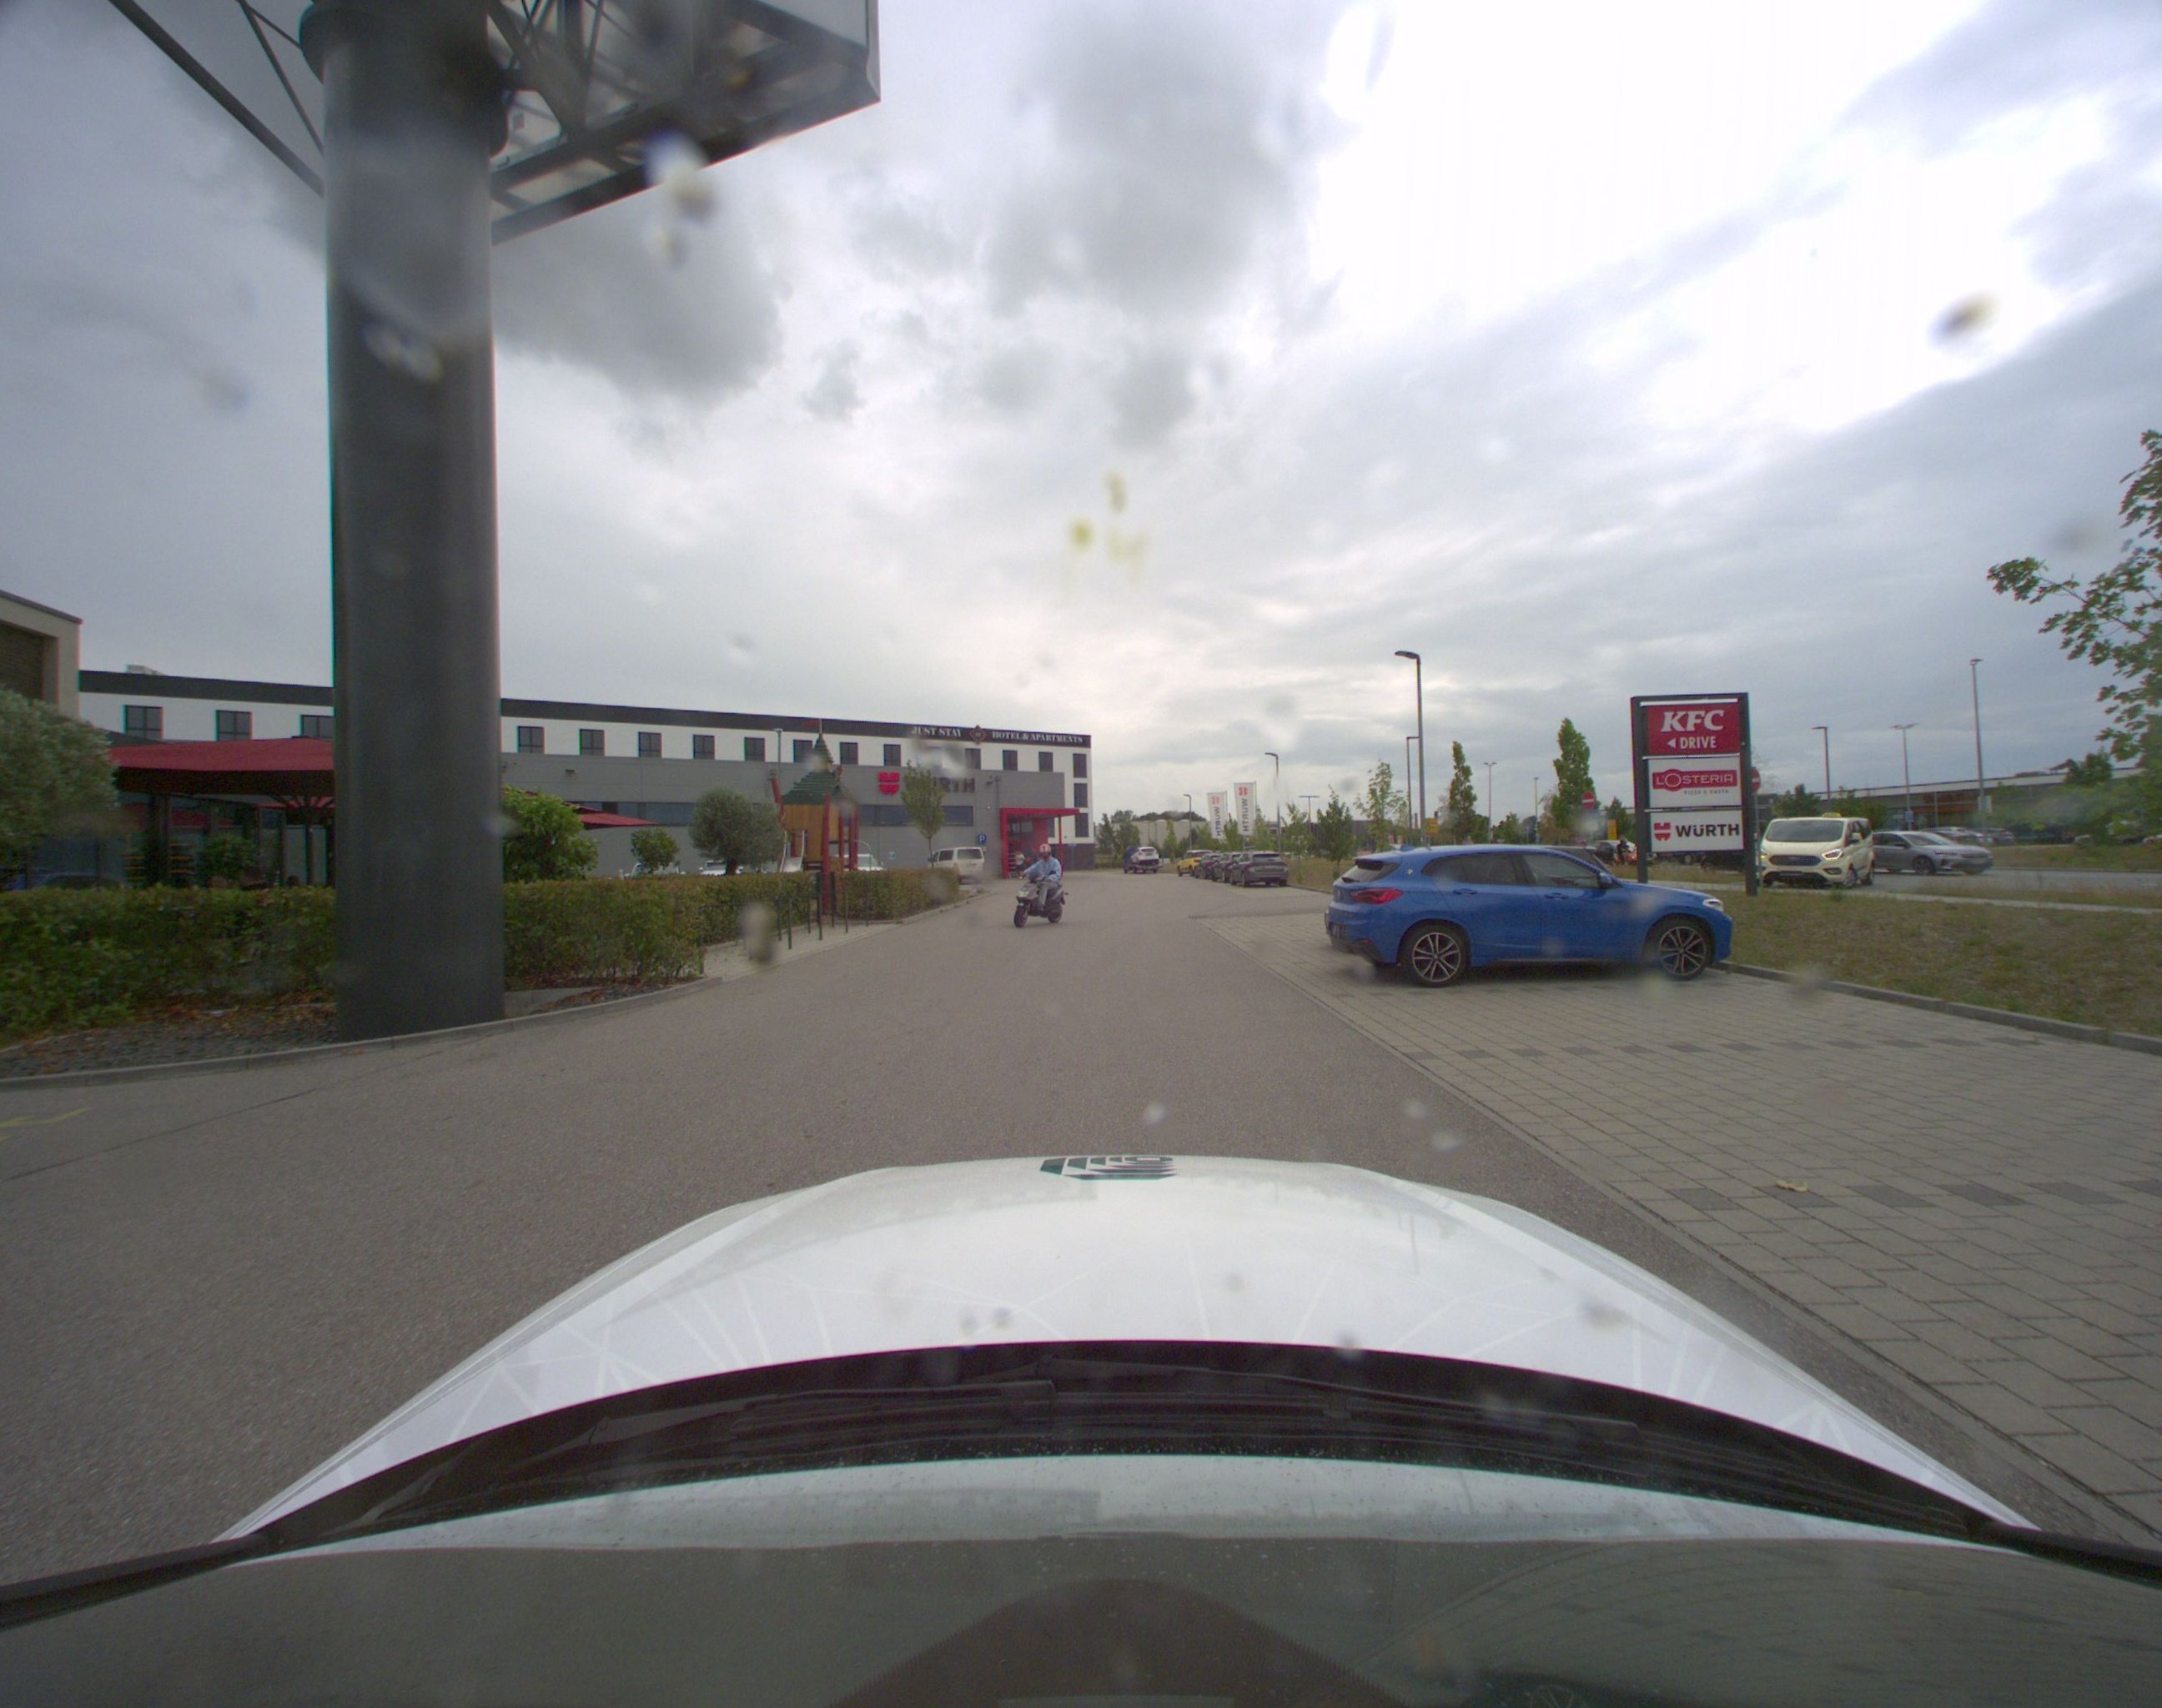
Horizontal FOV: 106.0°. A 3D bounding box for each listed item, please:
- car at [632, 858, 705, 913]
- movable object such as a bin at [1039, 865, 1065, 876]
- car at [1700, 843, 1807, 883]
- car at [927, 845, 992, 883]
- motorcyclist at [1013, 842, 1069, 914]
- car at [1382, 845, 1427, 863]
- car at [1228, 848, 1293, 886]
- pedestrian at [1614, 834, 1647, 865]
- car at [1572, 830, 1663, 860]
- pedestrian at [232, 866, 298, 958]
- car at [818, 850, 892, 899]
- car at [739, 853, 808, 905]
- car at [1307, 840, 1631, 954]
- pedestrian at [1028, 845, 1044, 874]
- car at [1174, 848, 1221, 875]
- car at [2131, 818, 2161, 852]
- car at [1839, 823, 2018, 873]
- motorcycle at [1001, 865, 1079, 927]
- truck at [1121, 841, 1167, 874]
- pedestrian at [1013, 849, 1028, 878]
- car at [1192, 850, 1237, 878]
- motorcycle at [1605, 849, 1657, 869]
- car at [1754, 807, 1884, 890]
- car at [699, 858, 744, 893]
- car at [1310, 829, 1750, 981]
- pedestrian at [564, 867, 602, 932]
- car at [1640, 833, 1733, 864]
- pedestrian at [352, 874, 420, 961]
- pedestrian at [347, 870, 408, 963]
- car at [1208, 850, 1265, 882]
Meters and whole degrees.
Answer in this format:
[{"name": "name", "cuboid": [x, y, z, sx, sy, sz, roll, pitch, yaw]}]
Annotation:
[{"name": "car", "cuboid": [-14.283, 1.068, 28.428, 2.003, 1.650, 4.540, -3, 0, -24]}, {"name": "movable object such as a bin", "cuboid": [-1.898, 1.079, 53.948, 1.494, 0.704, 0.958, 0, -1, -23]}, {"name": "car", "cuboid": [24.852, 0.314, 30.225, 1.455, 1.337, 3.166, -2, 0, 4]}, {"name": "car", "cuboid": [-6.761, 0.566, 44.995, 2.069, 1.855, 4.020, -4, 0, -32]}, {"name": "motorcyclist", "cuboid": [-0.848, 0.506, 17.453, 0.820, 1.489, 0.947, -2, -1, 25]}, {"name": "car", "cuboid": [26.756, -0.006, 67.529, 1.759, 1.395, 4.553, -2, 0, -3]}, {"name": "car", "cuboid": [7.462, 0.519, 34.212, 1.746, 1.469, 4.475, -1, 0, 0]}, {"name": "pedestrian", "cuboid": [24.309, -0.190, 36.040, 0.802, 1.281, 0.898, -3, 0, -3]}, {"name": "car", "cuboid": [27.625, -0.439, 42.084, 1.759, 1.395, 4.214, -2, 0, -3]}, {"name": "pedestrian", "cuboid": [-11.127, 0.776, 11.110, 0.420, 1.199, 0.454, -3, 0, -14]}, {"name": "car", "cuboid": [-8.763, 0.773, 31.277, 2.003, 1.650, 4.540, -3, 0, -24]}, {"name": "car", "cuboid": [-11.326, 0.910, 29.811, 2.003, 1.650, 4.540, -3, 0, -24]}, {"name": "car", "cuboid": [5.676, 0.600, 12.327, 4.044, 1.459, 1.778, -2, 0, 3]}, {"name": "pedestrian", "cuboid": [-2.838, 0.363, 51.483, 0.679, 1.802, 0.874, -2, 0, -22]}, {"name": "car", "cuboid": [7.546, 0.495, 52.945, 1.857, 1.650, 3.985, 0, -1, -11]}, {"name": "car", "cuboid": [51.270, -0.965, 37.419, 4.039, 1.539, 1.903, -3, 0, -8]}, {"name": "car", "cuboid": [27.894, -0.180, 27.013, 1.817, 1.459, 4.002, -3, 0, 2]}, {"name": "motorcycle", "cuboid": [-0.846, 0.868, 17.456, 0.785, 1.208, 1.933, -2, -1, 27]}, {"name": "truck", "cuboid": [5.238, 0.381, 69.371, 2.329, 2.407, 7.874, 0, -3, -7]}, {"name": "pedestrian", "cuboid": [-3.726, 0.593, 49.824, 0.626, 1.751, 0.899, -1, -1, -22]}, {"name": "car", "cuboid": [7.564, 0.566, 46.426, 1.747, 1.469, 4.103, -1, 0, -2]}, {"name": "motorcycle", "cuboid": [24.314, 0.194, 36.046, 0.812, 0.773, 2.025, -6, 1, -3]}, {"name": "car", "cuboid": [20.929, -0.208, 23.020, 5.257, 2.086, 1.977, -2, 0, -40]}, {"name": "car", "cuboid": [-17.737, 1.058, 40.088, 1.746, 1.552, 4.226, -3, 0, -27]}, {"name": "car", "cuboid": [5.075, 0.552, 9.683, 4.186, 1.544, 1.865, -1, 0, 1]}, {"name": "pedestrian", "cuboid": [-13.985, 1.253, 22.880, 0.743, 1.748, 0.698, -3, 0, -23]}, {"name": "car", "cuboid": [32.559, -0.259, 43.975, 1.915, 1.486, 4.426, -3, 0, 4]}, {"name": "pedestrian", "cuboid": [-14.598, 1.313, 17.121, 0.737, 1.748, 0.704, -3, 0, 4]}, {"name": "pedestrian", "cuboid": [-9.494, 0.823, 10.997, 0.420, 1.199, 0.454, -3, 0, -14]}, {"name": "car", "cuboid": [7.578, 0.565, 40.062, 1.747, 1.469, 4.472, -1, 0, -2]}]
